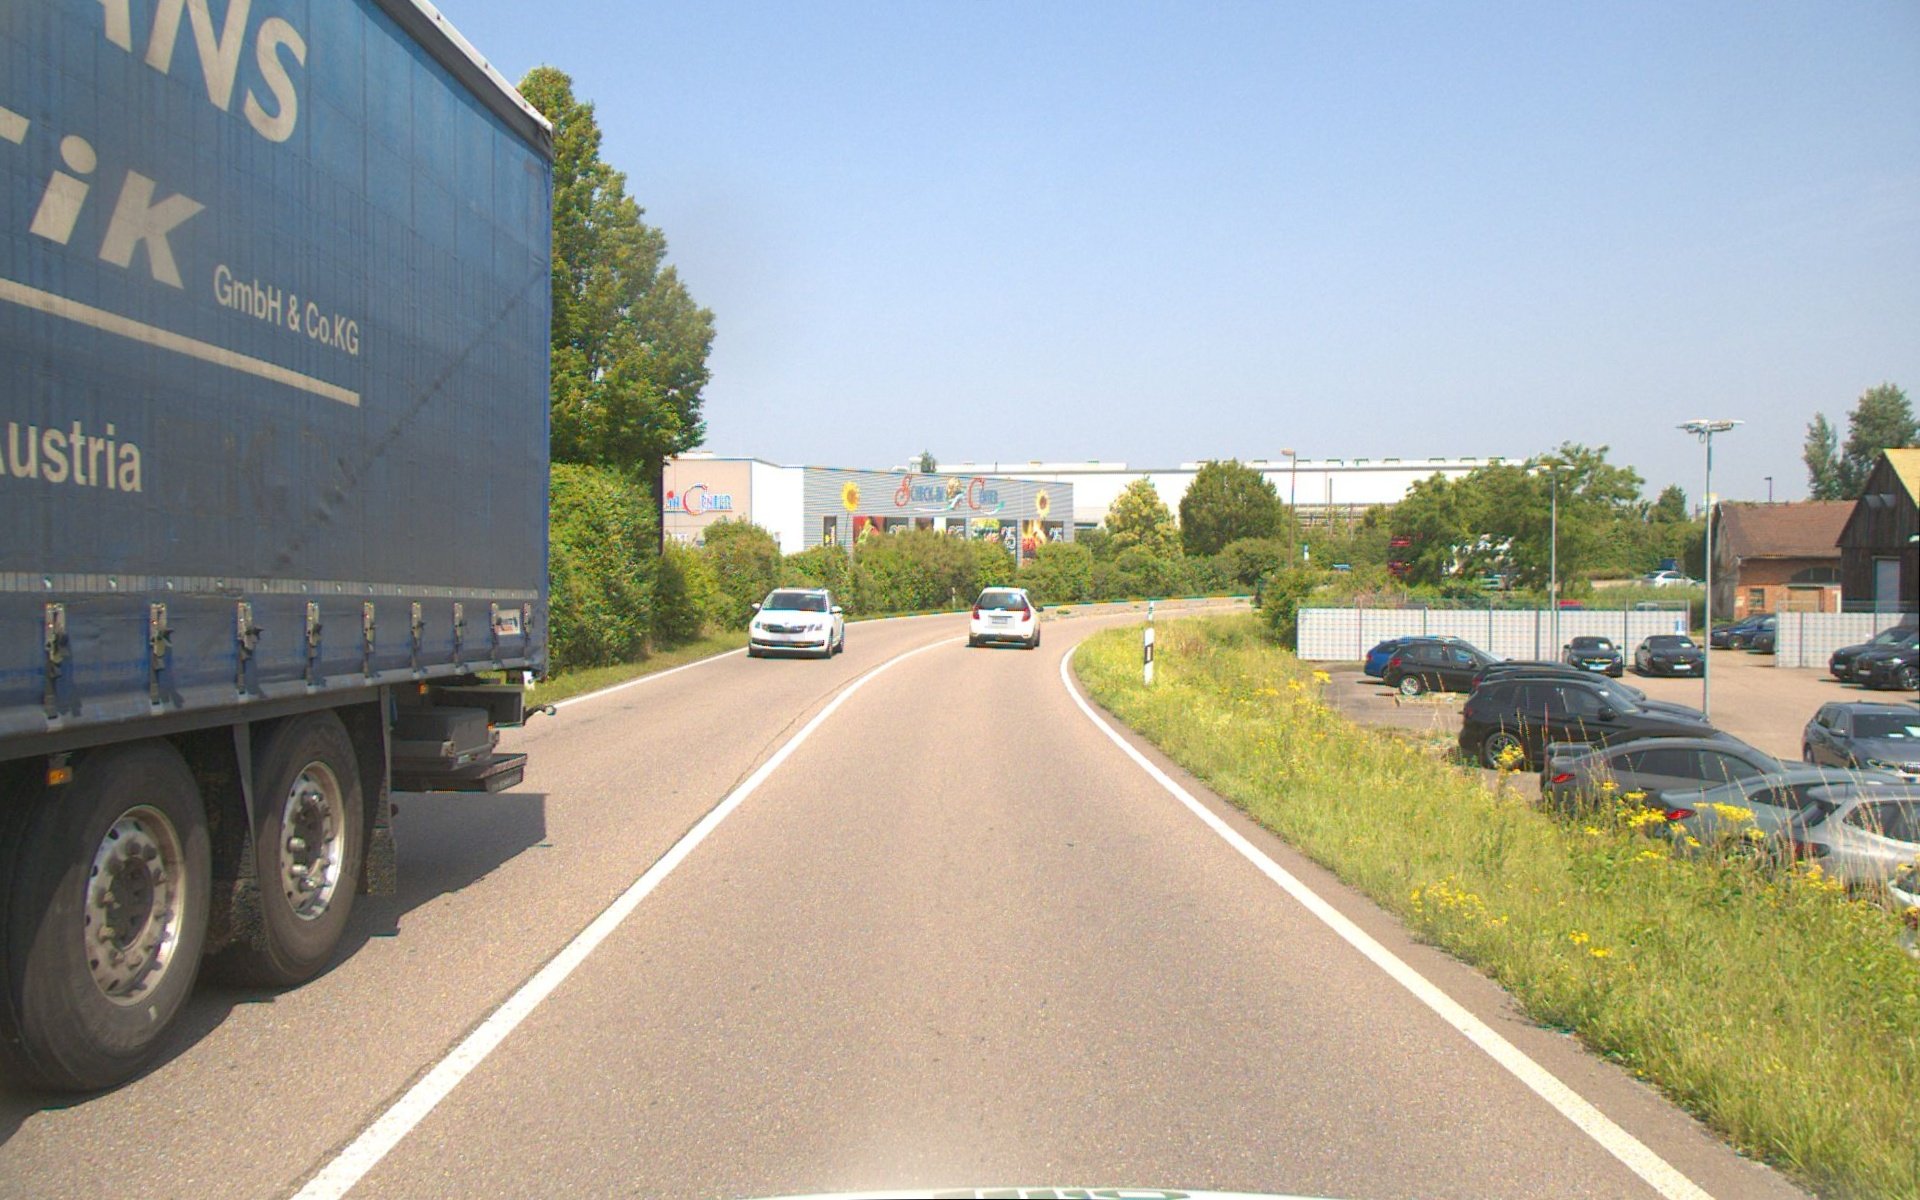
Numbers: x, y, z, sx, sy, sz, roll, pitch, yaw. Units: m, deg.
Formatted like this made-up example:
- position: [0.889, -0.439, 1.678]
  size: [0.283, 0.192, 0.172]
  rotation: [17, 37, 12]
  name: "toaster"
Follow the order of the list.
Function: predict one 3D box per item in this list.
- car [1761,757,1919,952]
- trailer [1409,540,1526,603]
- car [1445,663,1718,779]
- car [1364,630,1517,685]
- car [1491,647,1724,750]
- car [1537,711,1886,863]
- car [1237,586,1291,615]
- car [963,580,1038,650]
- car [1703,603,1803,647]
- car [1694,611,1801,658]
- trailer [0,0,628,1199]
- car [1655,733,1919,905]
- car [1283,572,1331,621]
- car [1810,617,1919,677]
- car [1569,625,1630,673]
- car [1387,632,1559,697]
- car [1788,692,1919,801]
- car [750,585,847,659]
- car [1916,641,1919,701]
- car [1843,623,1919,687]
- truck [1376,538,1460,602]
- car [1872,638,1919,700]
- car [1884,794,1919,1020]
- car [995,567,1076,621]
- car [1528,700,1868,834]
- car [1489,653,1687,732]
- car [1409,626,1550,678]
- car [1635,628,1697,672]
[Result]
- position: [9.827, 2.455, 15.546]
  size: [4.078, 1.549, 1.854]
  rotation: [1, 0, 27]
  name: "car"
- position: [35.288, -1.957, 114.902]
  size: [8.585, 4.101, 2.857]
  rotation: [1, 0, -33]
  name: "trailer"
- position: [11.702, 2.217, 31.259]
  size: [4.546, 1.730, 1.852]
  rotation: [2, 3, 33]
  name: "car"
- position: [15.819, 1.861, 54.537]
  size: [4.543, 1.524, 1.853]
  rotation: [1, 2, 31]
  name: "car"
- position: [13.382, 1.982, 34.285]
  size: [4.152, 1.730, 1.912]
  rotation: [2, 3, 36]
  name: "car"
- position: [10.006, 2.416, 22.135]
  size: [4.079, 1.549, 1.854]
  rotation: [1, 0, 28]
  name: "car"
- position: [16.664, 0.051, 90.506]
  size: [1.793, 1.496, 4.405]
  rotation: [1, 0, 26]
  name: "car"
- position: [1.054, 0.372, 45.019]
  size: [1.745, 1.630, 3.893]
  rotation: [5, 1, -1]
  name: "car"
- position: [34.036, 1.052, 71.107]
  size: [3.660, 1.780, 1.674]
  rotation: [1, 0, 19]
  name: "car"
- position: [31.918, 1.377, 67.087]
  size: [3.659, 1.780, 1.675]
  rotation: [1, 0, 16]
  name: "car"
- position: [-3.553, -0.761, 3.117]
  size: [2.615, 4.315, 14.567]
  rotation: [2, 0, 1]
  name: "trailer"
- position: [10.159, 2.467, 18.704]
  size: [4.079, 1.549, 1.854]
  rotation: [1, 0, 28]
  name: "car"
- position: [15.361, -0.141, 73.129]
  size: [1.951, 2.049, 4.003]
  rotation: [1, 0, 13]
  name: "car"
- position: [30.457, 1.509, 54.268]
  size: [4.248, 1.835, 1.993]
  rotation: [0, 2, -12]
  name: "car"
- position: [23.151, 1.738, 59.769]
  size: [1.813, 1.561, 4.641]
  rotation: [1, 0, 24]
  name: "car"
- position: [14.972, 1.849, 48.347]
  size: [4.539, 1.633, 1.854]
  rotation: [1, 1, 28]
  name: "car"
- position: [16.085, 2.481, 28.572]
  size: [2.090, 1.483, 4.536]
  rotation: [1, 0, 12]
  name: "car"
- position: [-3.505, 0.455, 36.551]
  size: [1.792, 1.496, 4.408]
  rotation: [1, 0, -2]
  name: "car"
- position: [28.122, 1.960, 44.243]
  size: [4.248, 1.603, 1.906]
  rotation: [0, 2, -12]
  name: "car"
- position: [30.093, 1.695, 51.641]
  size: [4.248, 1.835, 1.906]
  rotation: [0, 2, -12]
  name: "car"
- position: [30.998, -2.007, 111.811]
  size: [2.839, 4.101, 6.682]
  rotation: [1, 0, 41]
  name: "truck"
- position: [28.407, 1.944, 46.895]
  size: [4.248, 1.603, 1.906]
  rotation: [0, 2, -12]
  name: "car"
- position: [9.413, 2.498, 12.594]
  size: [4.079, 1.549, 1.749]
  rotation: [1, 0, 28]
  name: "car"
- position: [3.044, -0.219, 65.546]
  size: [1.953, 2.049, 3.999]
  rotation: [1, 0, 22]
  name: "car"
- position: [11.198, 2.461, 25.175]
  size: [4.543, 1.549, 1.852]
  rotation: [1, 0, 31]
  name: "car"
- position: [14.885, 2.153, 39.298]
  size: [4.068, 1.519, 1.824]
  rotation: [2, 1, 36]
  name: "car"
- position: [17.896, 1.751, 57.089]
  size: [4.297, 1.529, 1.831]
  rotation: [2, 2, 43]
  name: "car"
- position: [25.234, 1.745, 59.086]
  size: [1.954, 1.422, 3.998]
  rotation: [1, 0, 24]
  name: "car"
